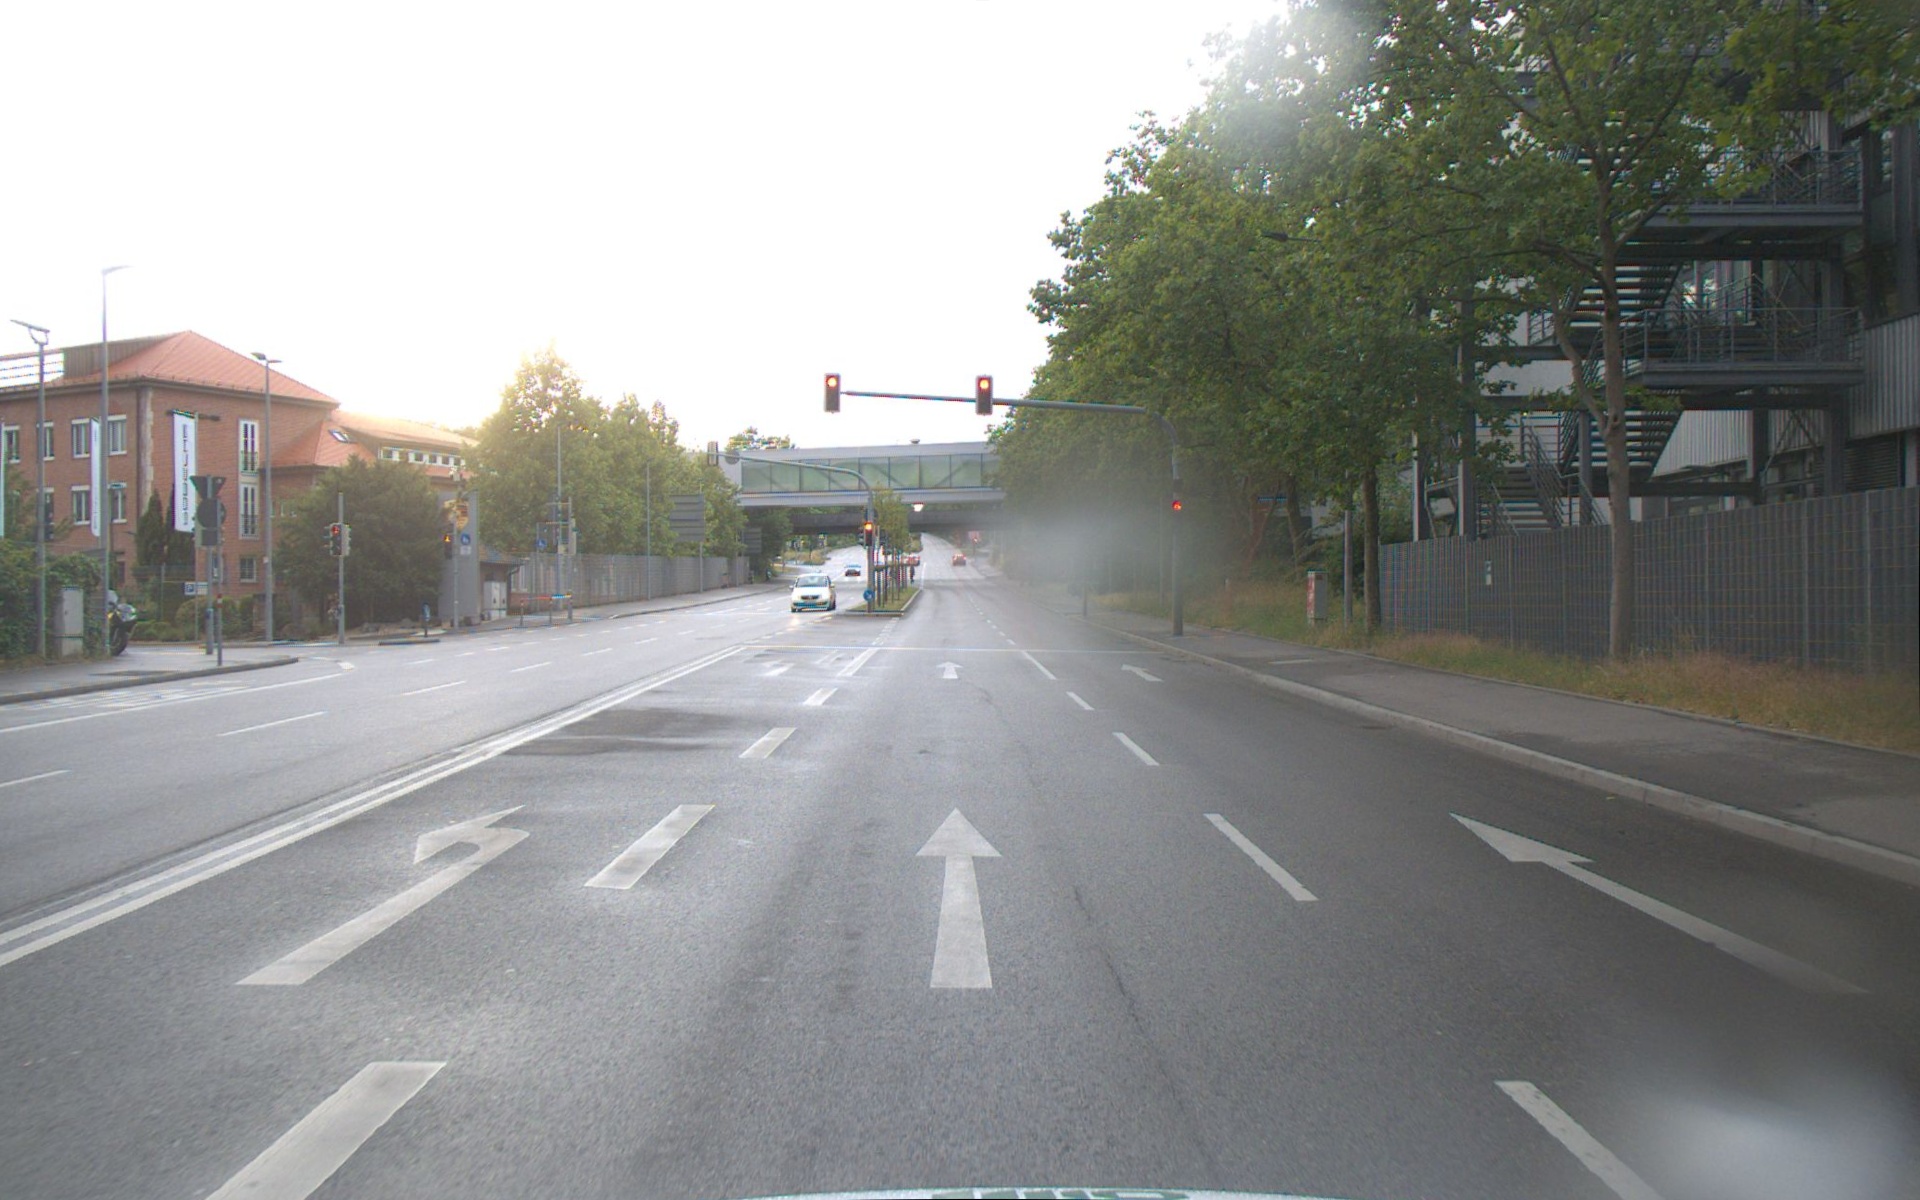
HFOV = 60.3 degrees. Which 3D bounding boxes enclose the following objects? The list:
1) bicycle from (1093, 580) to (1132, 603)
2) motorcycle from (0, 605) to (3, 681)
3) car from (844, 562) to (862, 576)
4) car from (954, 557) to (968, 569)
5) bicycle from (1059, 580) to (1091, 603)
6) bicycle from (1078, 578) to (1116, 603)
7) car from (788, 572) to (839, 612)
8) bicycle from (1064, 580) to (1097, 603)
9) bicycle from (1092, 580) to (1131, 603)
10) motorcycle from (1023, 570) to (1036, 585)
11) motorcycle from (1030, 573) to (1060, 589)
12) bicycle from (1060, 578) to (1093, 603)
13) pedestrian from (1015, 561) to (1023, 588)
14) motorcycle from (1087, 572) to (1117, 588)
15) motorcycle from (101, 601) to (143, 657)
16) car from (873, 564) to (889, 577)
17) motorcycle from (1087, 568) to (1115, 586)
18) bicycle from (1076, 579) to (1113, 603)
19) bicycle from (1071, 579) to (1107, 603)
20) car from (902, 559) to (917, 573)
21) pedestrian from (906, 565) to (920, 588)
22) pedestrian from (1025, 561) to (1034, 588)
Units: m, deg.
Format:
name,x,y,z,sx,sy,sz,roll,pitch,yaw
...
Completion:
name,x,y,z,sx,sy,sz,roll,pitch,yaw
bicycle,7.952,-0.439,86.171,1.949,1.114,0.541,2,-1,0
motorcycle,-16.401,0.737,26.604,0.769,1.269,2.157,-1,0,-1
car,-12.588,-3.647,194.395,1.839,1.653,3.779,-1,1,0
car,0.158,-5.236,235.314,1.837,1.523,4.068,2,0,0
bicycle,7.141,-0.506,102.673,1.920,1.352,0.576,2,-1,0
bicycle,7.281,-0.512,88.197,1.949,1.237,0.541,2,-1,0
car,-6.364,-0.353,72.192,1.839,1.653,3.779,-1,1,0
bicycle,7.328,-0.509,100.725,1.949,1.352,0.576,2,-1,0
bicycle,7.952,-0.436,86.739,1.949,1.114,0.541,2,-1,0
motorcycle,6.424,-2.078,152.740,0.775,1.334,2.372,-1,1,-8
motorcycle,6.878,-1.565,133.854,2.318,1.223,0.723,-1,0,7
bicycle,7.035,-0.574,99.871,1.949,1.455,0.723,2,-1,0
pedestrian,4.546,-1.956,127.583,0.609,2.049,0.605,-1,0,0
motorcycle,11.432,-1.607,133.351,2.318,1.223,0.723,-1,0,7
motorcycle,-19.269,0.642,37.992,0.762,1.239,2.485,-1,1,-29
car,-10.393,-3.910,217.258,1.839,1.653,3.779,-1,1,0
motorcycle,11.869,-1.937,139.344,2.318,1.502,0.723,-1,0,7
bicycle,7.342,-0.509,90.387,1.949,1.255,0.541,2,-1,0
bicycle,7.257,-0.503,93.156,1.949,1.263,0.541,2,-1,0
car,-7.253,-4.932,239.130,1.953,1.792,4.000,2,0,0
pedestrian,-4.358,-2.190,153.459,0.858,2.039,0.851,-1,1,37
pedestrian,5.351,-1.963,127.097,0.609,2.049,0.605,-1,0,0
